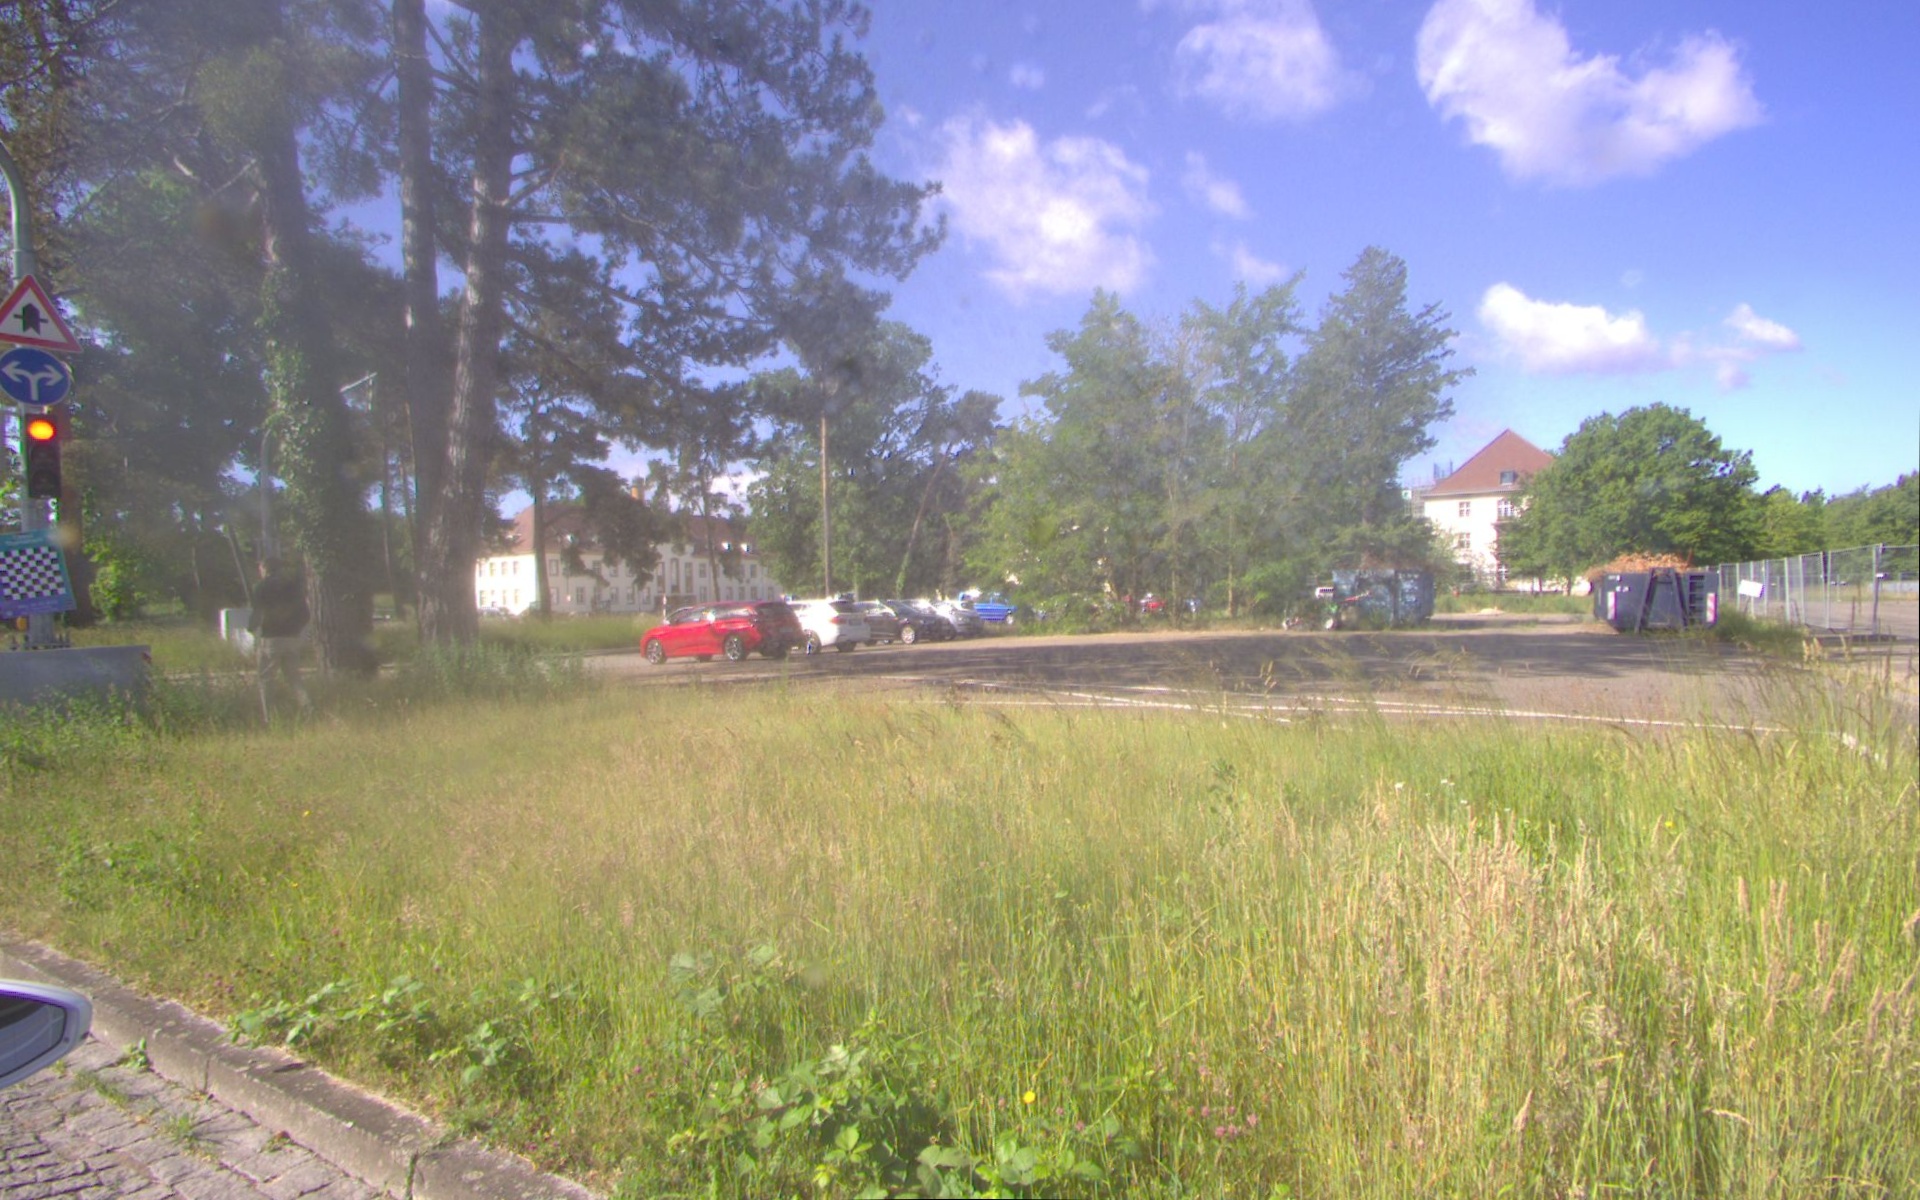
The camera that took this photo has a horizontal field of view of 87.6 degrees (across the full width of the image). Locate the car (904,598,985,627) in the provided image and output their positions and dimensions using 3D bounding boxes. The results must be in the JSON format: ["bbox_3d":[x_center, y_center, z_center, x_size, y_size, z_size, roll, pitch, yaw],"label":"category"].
[{"bbox_3d":[-0.879,0.705,55.079,4.180,1.487,1.720,-1,-1,32],"label":"car"}]

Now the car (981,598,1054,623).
[{"bbox_3d":[3.512,0.642,61.528,4.180,1.443,1.720,-1,-1,32],"label":"car"}]

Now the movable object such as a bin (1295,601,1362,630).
[{"bbox_3d":[10.512,0.444,28.545,1.696,0.762,1.143,-1,0,25],"label":"movable object such as a bin"}]

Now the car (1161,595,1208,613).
[{"bbox_3d":[19.633,0.364,87.556,3.681,1.568,1.705,-1,-1,32],"label":"car"}]

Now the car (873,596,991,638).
[{"bbox_3d":[-0.982,0.602,34.482,3.739,1.390,1.720,-1,-1,34],"label":"car"}]

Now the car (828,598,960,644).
[{"bbox_3d":[-2.132,0.657,31.786,3.987,1.332,1.612,-1,1,33],"label":"car"}]

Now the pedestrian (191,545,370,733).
[{"bbox_3d":[-7.045,0.376,10.418,1.047,1.820,1.166,-1,1,31],"label":"pedestrian"}]

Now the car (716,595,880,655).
[{"bbox_3d":[-4.420,0.685,27.220,4.179,1.396,1.776,-3,-1,30],"label":"car"}]

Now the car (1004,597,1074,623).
[{"bbox_3d":[5.055,0.644,64.130,4.180,1.568,1.720,-1,-1,32],"label":"car"}]

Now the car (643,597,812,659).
[{"bbox_3d":[-5.751,0.707,24.658,4.071,1.417,1.652,-2,-1,32],"label":"car"}]

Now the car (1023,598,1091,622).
[{"bbox_3d":[6.467,0.674,66.985,4.180,1.568,1.720,-1,-1,32],"label":"car"}]

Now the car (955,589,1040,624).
[{"bbox_3d":[2.191,0.394,59.203,4.676,1.973,1.982,-1,-1,32],"label":"car"}]

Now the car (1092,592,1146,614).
[{"bbox_3d":[11.997,0.259,75.740,3.681,1.568,1.705,-1,-1,32],"label":"car"}]
